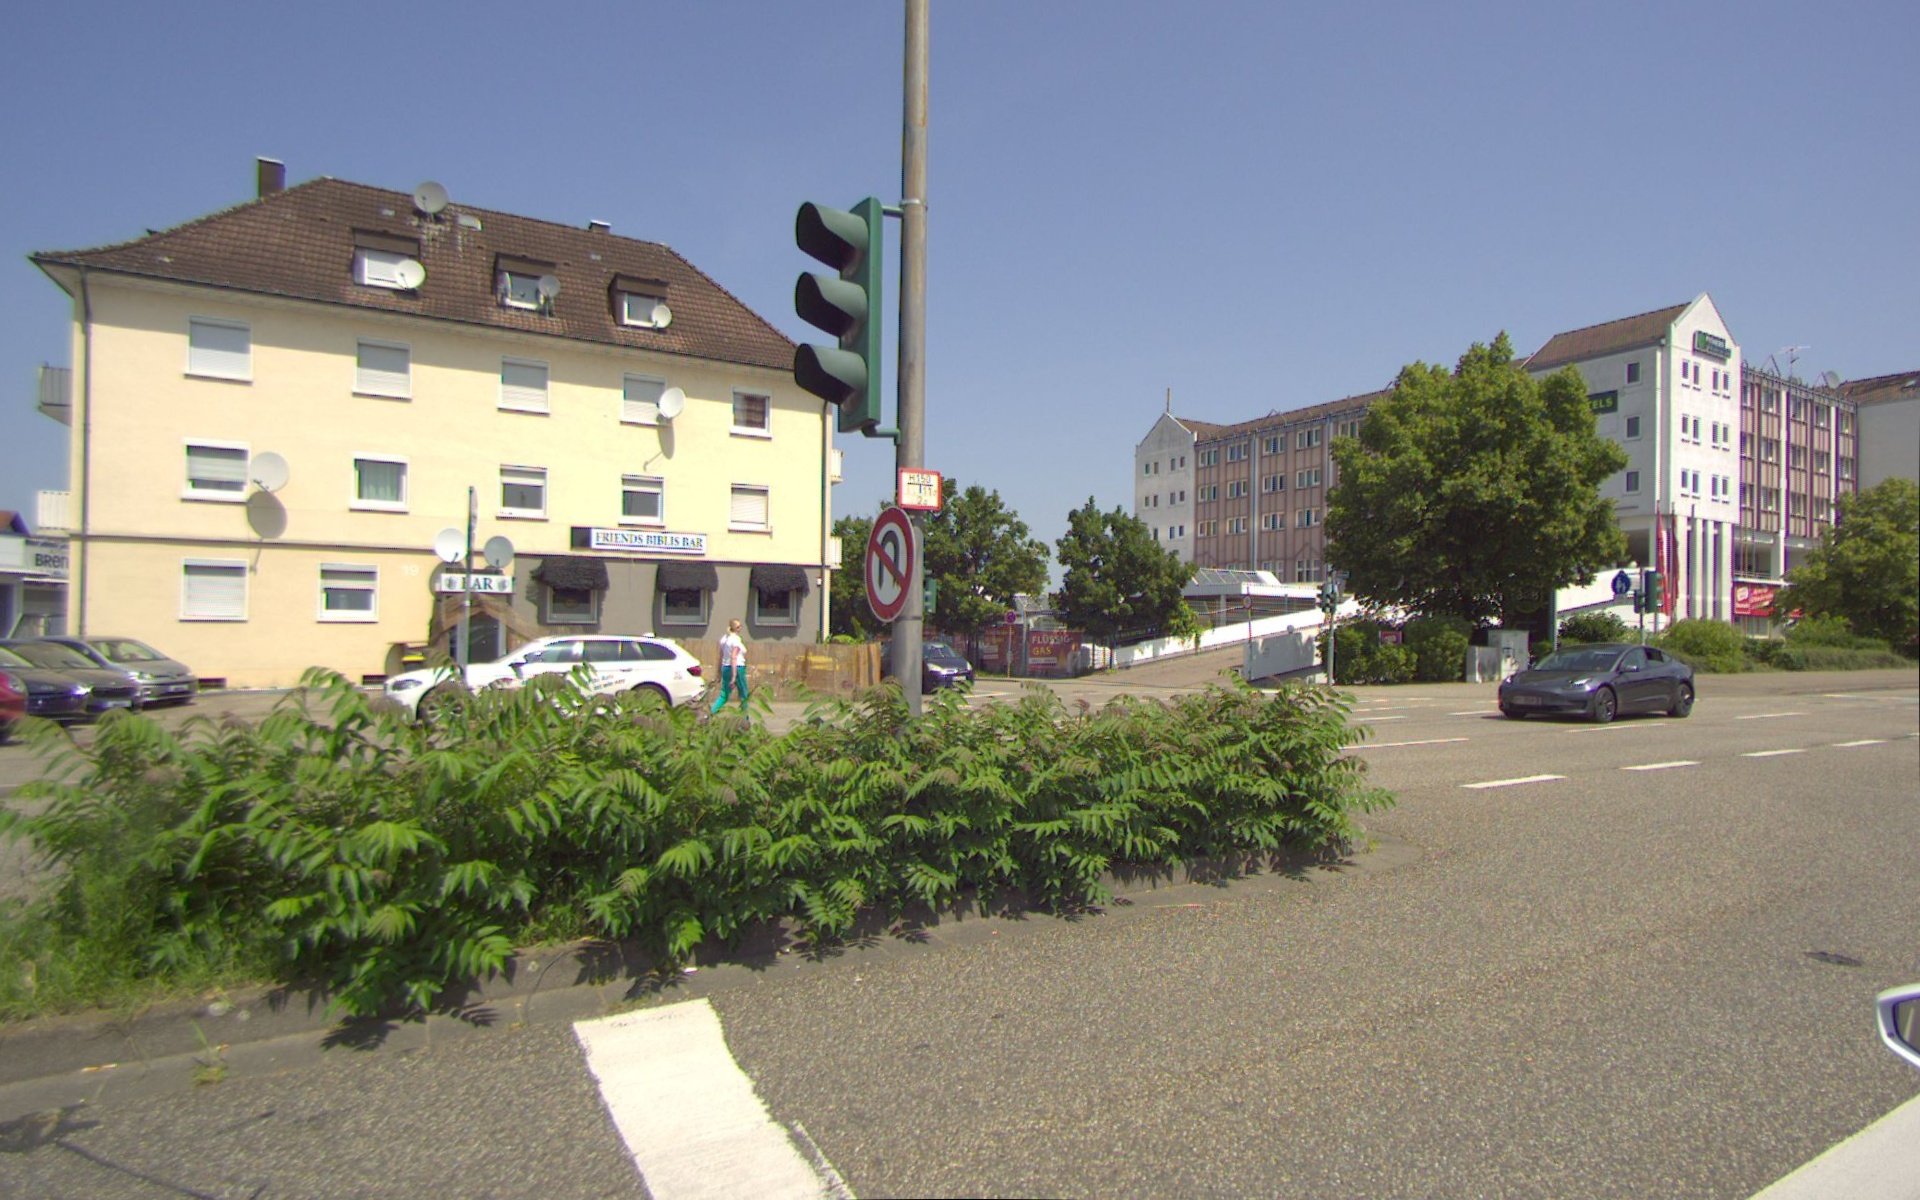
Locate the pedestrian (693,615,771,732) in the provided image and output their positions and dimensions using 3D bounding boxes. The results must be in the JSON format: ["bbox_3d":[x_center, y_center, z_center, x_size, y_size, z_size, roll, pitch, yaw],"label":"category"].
[{"bbox_3d":[-3.585,1.134,15.789,1.020,1.770,0.738,1,-1,-28],"label":"pedestrian"}]

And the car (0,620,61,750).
[{"bbox_3d":[-14.326,1.065,12.863,4.094,1.664,1.841,0,-1,5],"label":"car"}]

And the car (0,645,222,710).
[{"bbox_3d":[-18.145,1.609,21.137,3.923,1.268,1.650,0,-2,-4],"label":"car"}]

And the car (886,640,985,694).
[{"bbox_3d":[-0.872,2.140,32.859,1.843,1.633,3.977,1,-2,-24],"label":"car"}]

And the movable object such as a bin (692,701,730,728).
[{"bbox_3d":[-3.891,1.788,15.687,0.500,0.377,0.415,1,-2,-29],"label":"movable object such as a bin"}]

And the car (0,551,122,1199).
[{"bbox_3d":[-3.340,0.602,0.916,3.667,1.453,1.681,1,-1,-30],"label":"car"}]

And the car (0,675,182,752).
[{"bbox_3d":[-16.978,2.054,18.416,3.927,1.268,1.648,1,-2,-9],"label":"car"}]

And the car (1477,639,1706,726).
[{"bbox_3d":[12.427,1.539,19.722,4.449,1.505,1.984,2,-2,-30],"label":"car"}]

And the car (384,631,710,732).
[{"bbox_3d":[-6.648,1.240,16.357,4.703,1.429,1.767,1,-2,-30],"label":"car"}]

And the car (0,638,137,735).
[{"bbox_3d":[-15.684,1.316,15.764,3.927,1.445,1.648,1,-2,-9],"label":"car"}]
